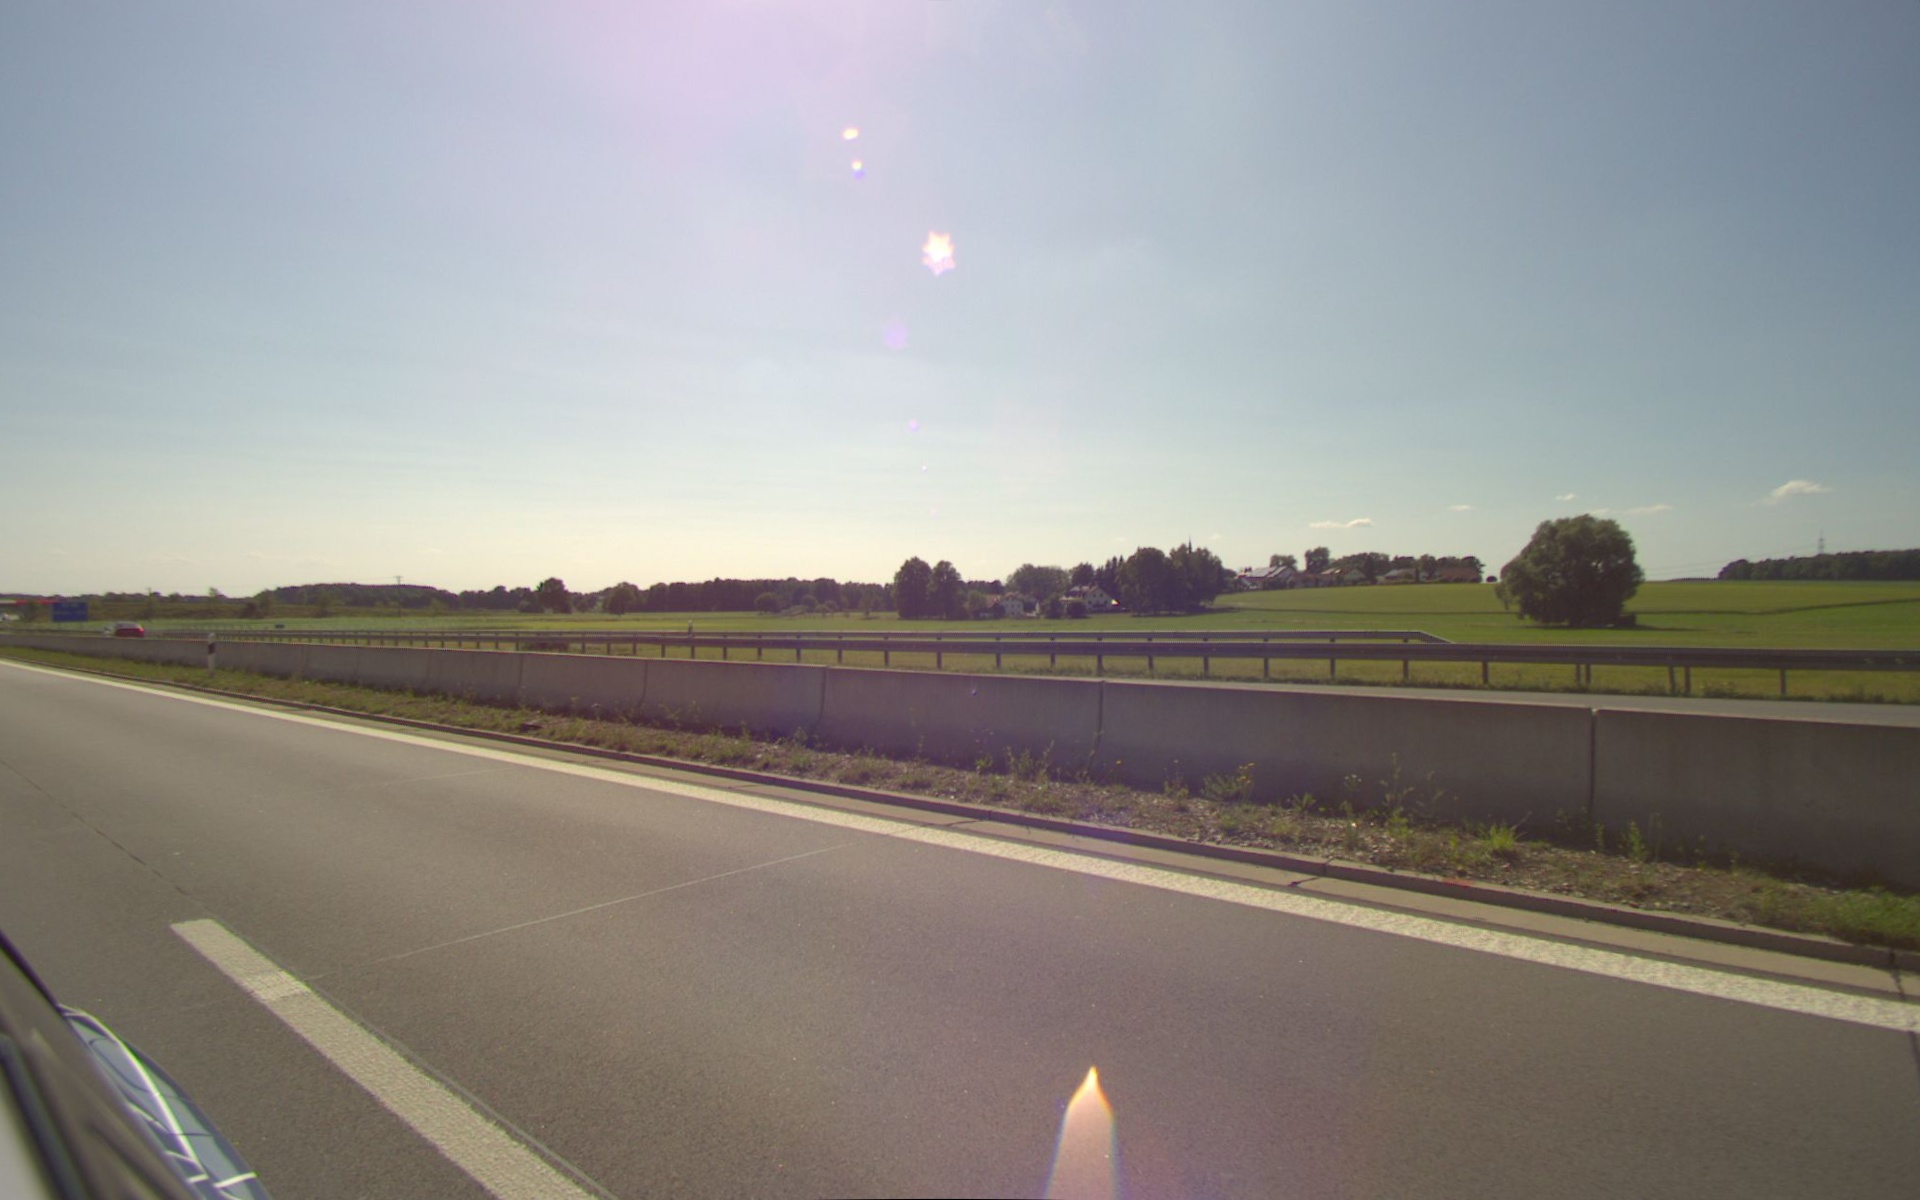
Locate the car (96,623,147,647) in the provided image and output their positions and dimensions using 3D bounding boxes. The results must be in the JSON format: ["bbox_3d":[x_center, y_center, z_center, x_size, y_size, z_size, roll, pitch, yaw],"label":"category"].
[{"bbox_3d":[-55.793,2.331,67.313,4.804,1.535,1.878,-1,-3,41],"label":"car"}]
